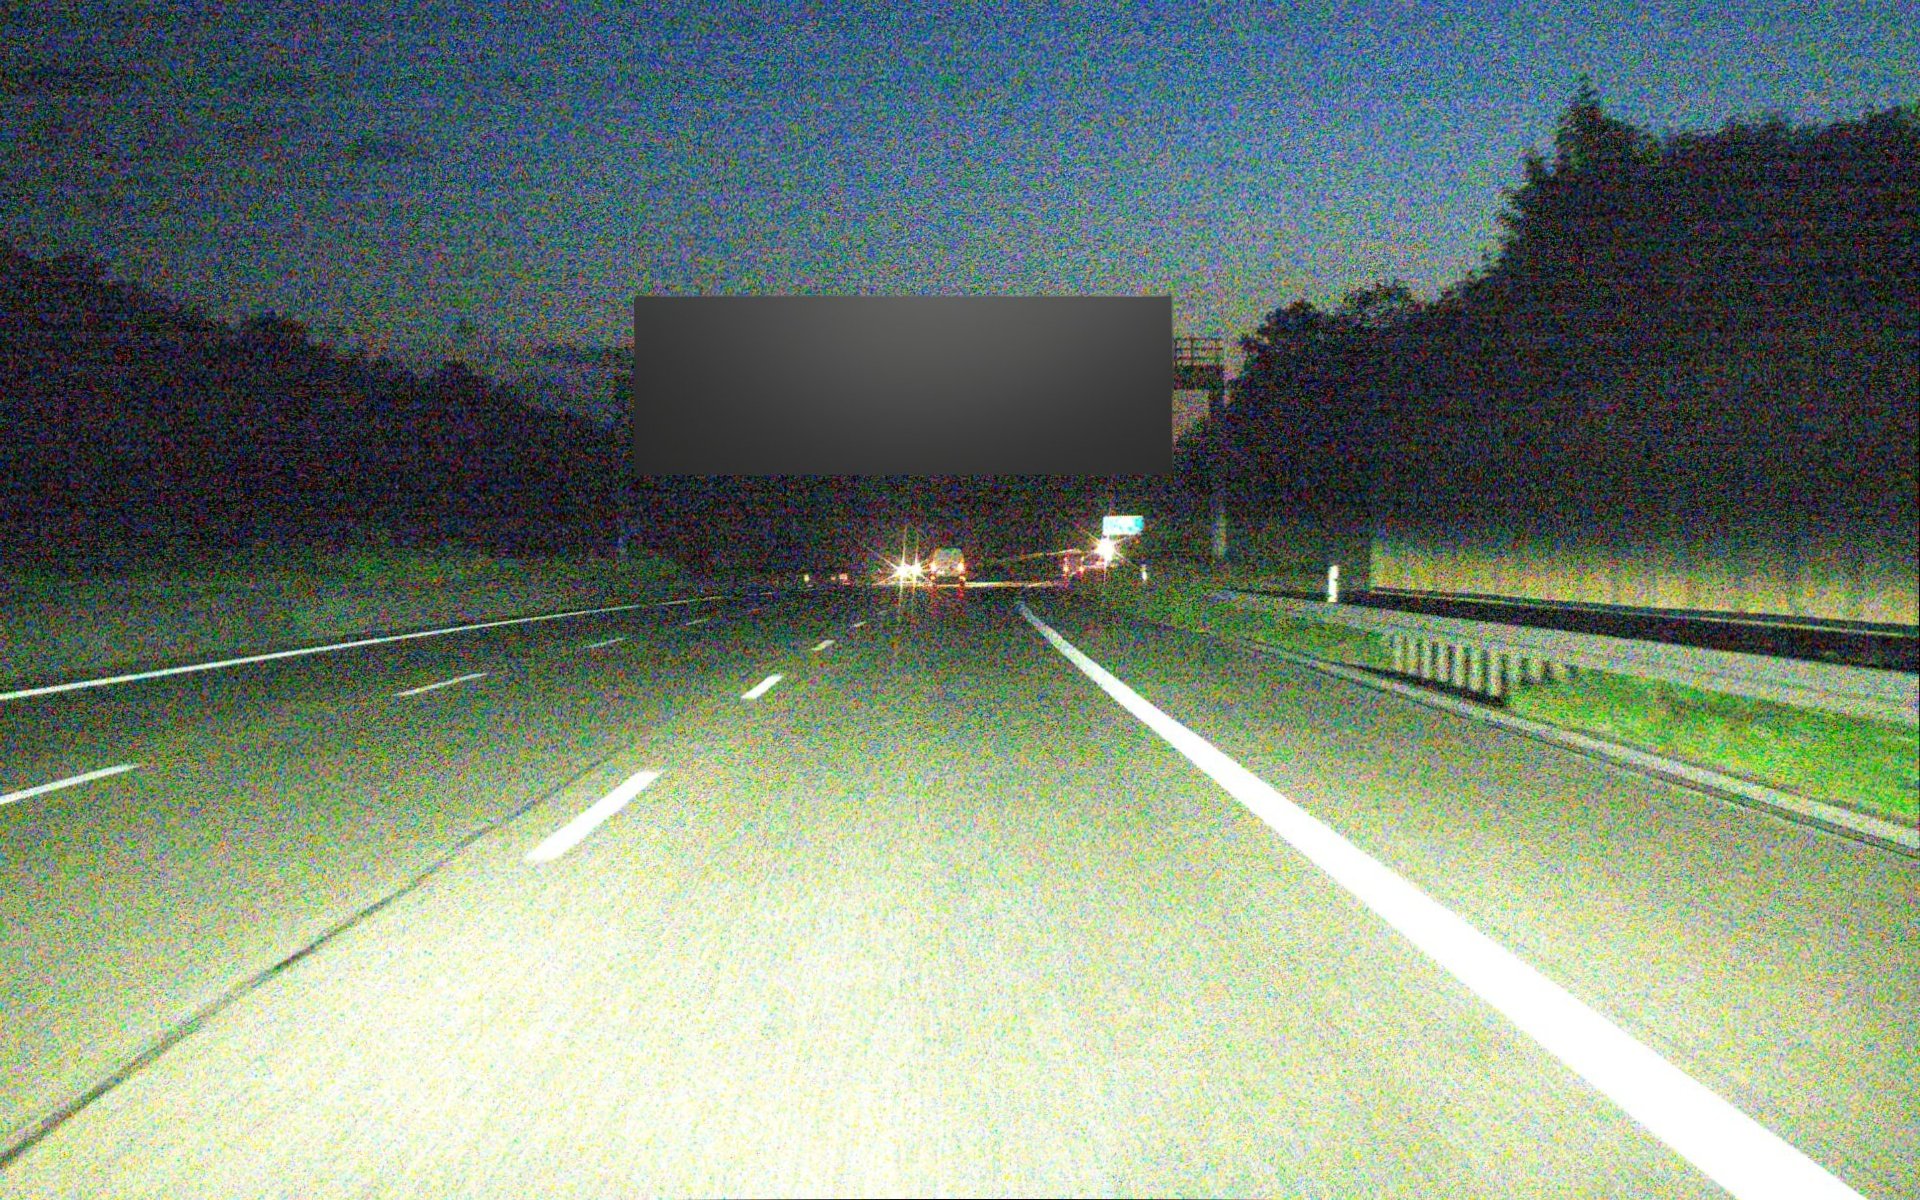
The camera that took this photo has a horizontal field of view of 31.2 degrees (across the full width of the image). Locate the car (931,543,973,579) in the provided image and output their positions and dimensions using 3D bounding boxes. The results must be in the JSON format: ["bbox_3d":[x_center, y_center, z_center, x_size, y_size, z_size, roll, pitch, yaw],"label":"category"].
[{"bbox_3d":[-0.507,-2.571,226.790,2.511,2.306,4.970,0,0,3],"label":"car"}]
